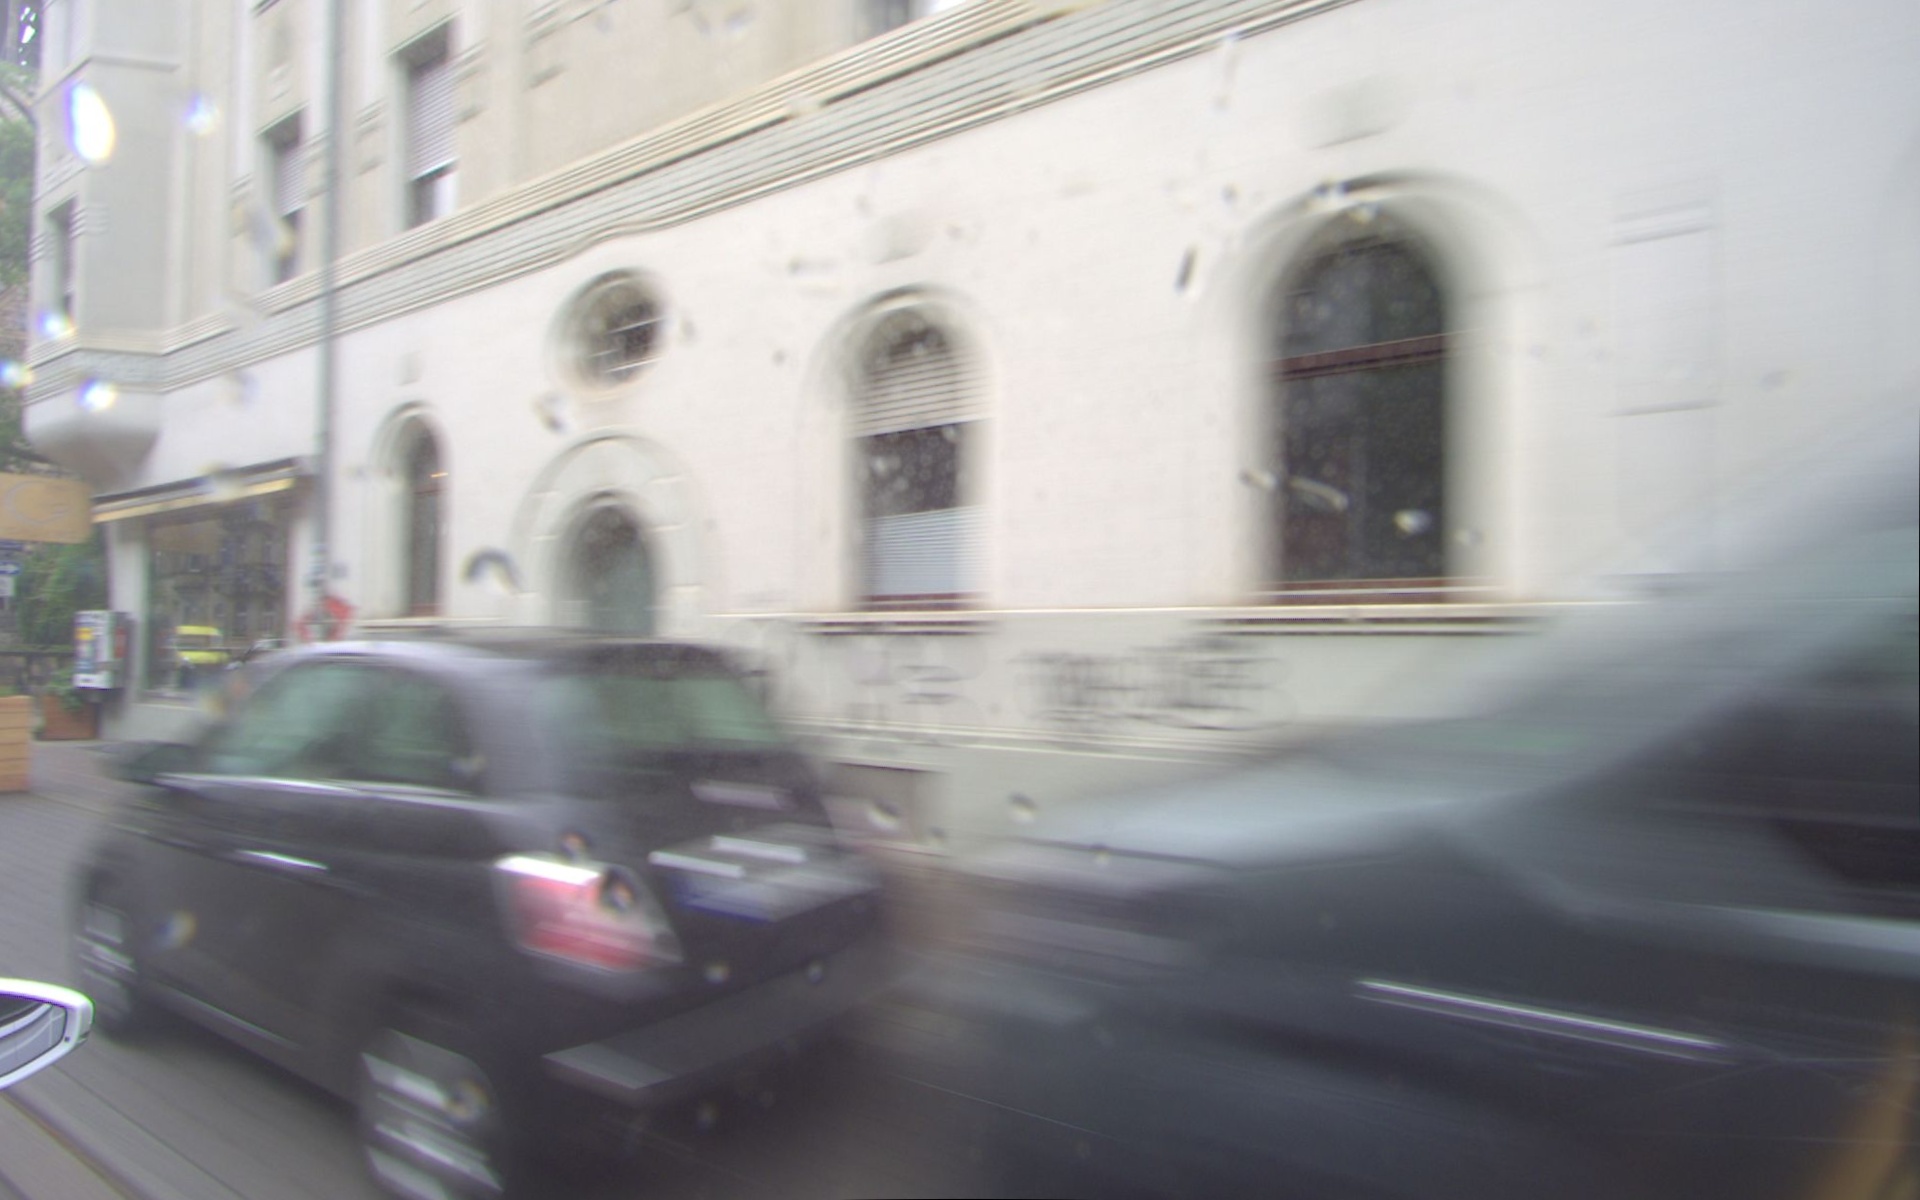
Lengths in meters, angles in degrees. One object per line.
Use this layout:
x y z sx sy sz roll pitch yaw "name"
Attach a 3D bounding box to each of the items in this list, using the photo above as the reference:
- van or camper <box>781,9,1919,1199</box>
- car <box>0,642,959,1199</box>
2.377 0.516 0.882 4.983 1.915 2.018 -1 -2 33 "van or camper"
-1.991 0.895 3.817 3.652 1.418 1.707 -1 -2 33 "car"
